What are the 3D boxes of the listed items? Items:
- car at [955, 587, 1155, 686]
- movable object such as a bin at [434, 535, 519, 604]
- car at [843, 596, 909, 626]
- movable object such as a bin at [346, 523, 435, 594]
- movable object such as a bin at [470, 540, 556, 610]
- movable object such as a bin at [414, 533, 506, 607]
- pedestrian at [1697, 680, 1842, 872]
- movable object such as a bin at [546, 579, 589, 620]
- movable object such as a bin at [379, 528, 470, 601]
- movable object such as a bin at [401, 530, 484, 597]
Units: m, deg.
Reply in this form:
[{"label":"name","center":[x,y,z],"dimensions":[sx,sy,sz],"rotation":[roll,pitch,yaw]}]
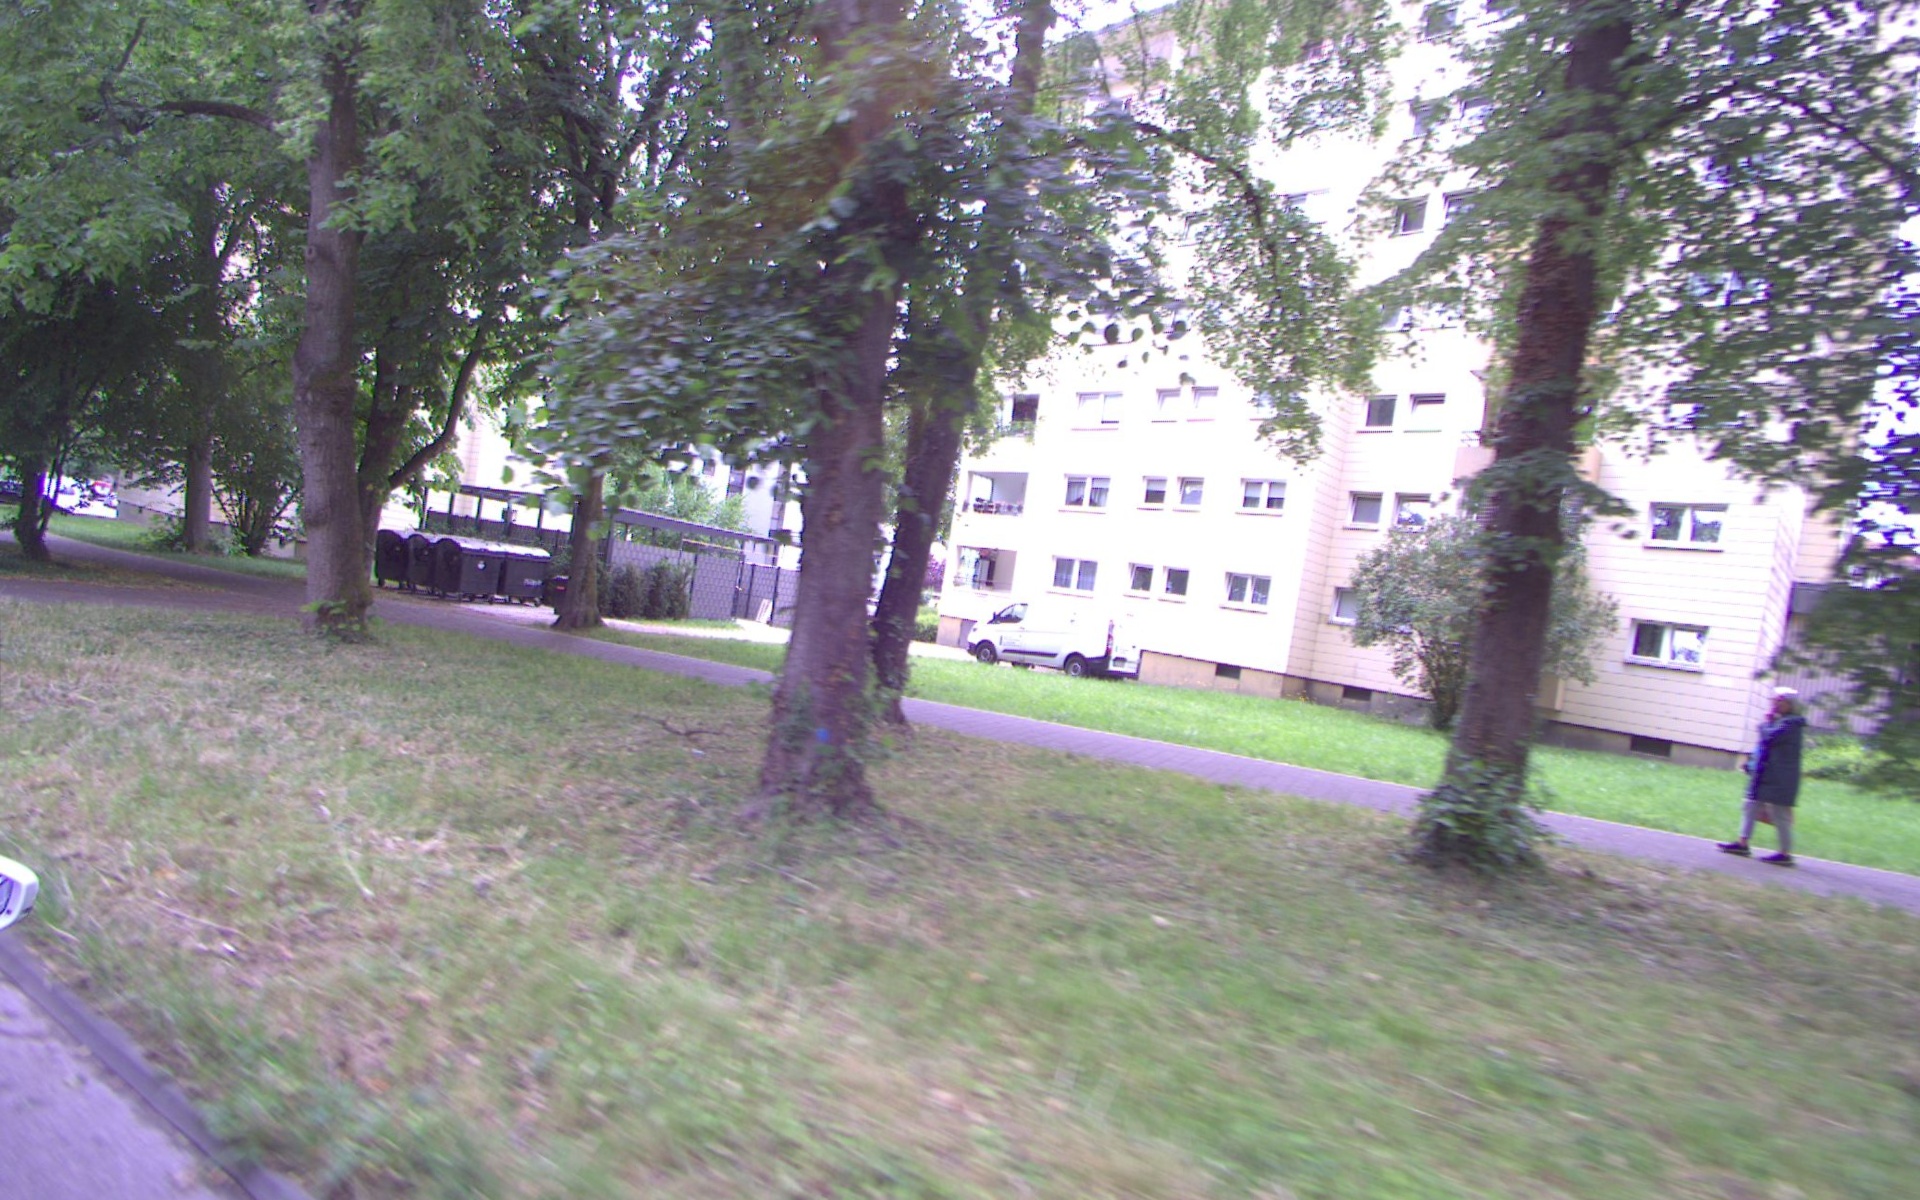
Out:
[{"label":"car","center":[2.517,0.964,27.337],"dimensions":[4.891,1.866,2.085],"rotation":[9,2,37]},{"label":"movable object such as a bin","center":[-12.464,-0.776,25.949],"dimensions":[1.291,1.520,1.329],"rotation":[8,1,26]},{"label":"car","center":[-5.930,0.741,71.250],"dimensions":[4.271,1.528,1.794],"rotation":[8,0,-16]},{"label":"movable object such as a bin","center":[-14.272,-1.026,25.223],"dimensions":[1.291,1.520,1.329],"rotation":[8,1,26]},{"label":"movable object such as a bin","center":[-11.251,-0.612,25.361],"dimensions":[1.291,1.520,1.329],"rotation":[8,1,26]},{"label":"movable object such as a bin","center":[-11.928,-0.699,24.024],"dimensions":[1.291,1.520,1.329],"rotation":[8,1,26]},{"label":"pedestrian","center":[8.070,1.714,10.078],"dimensions":[0.800,1.708,0.769],"rotation":[8,1,28]},{"label":"movable object such as a bin","center":[-9.550,-0.020,24.489],"dimensions":[0.657,0.889,0.600],"rotation":[8,1,26]},{"label":"movable object such as a bin","center":[-13.100,-0.857,24.626],"dimensions":[1.291,1.520,1.329],"rotation":[8,1,26]},{"label":"movable object such as a bin","center":[-13.641,-0.943,26.535],"dimensions":[1.291,1.520,1.329],"rotation":[8,1,26]}]
